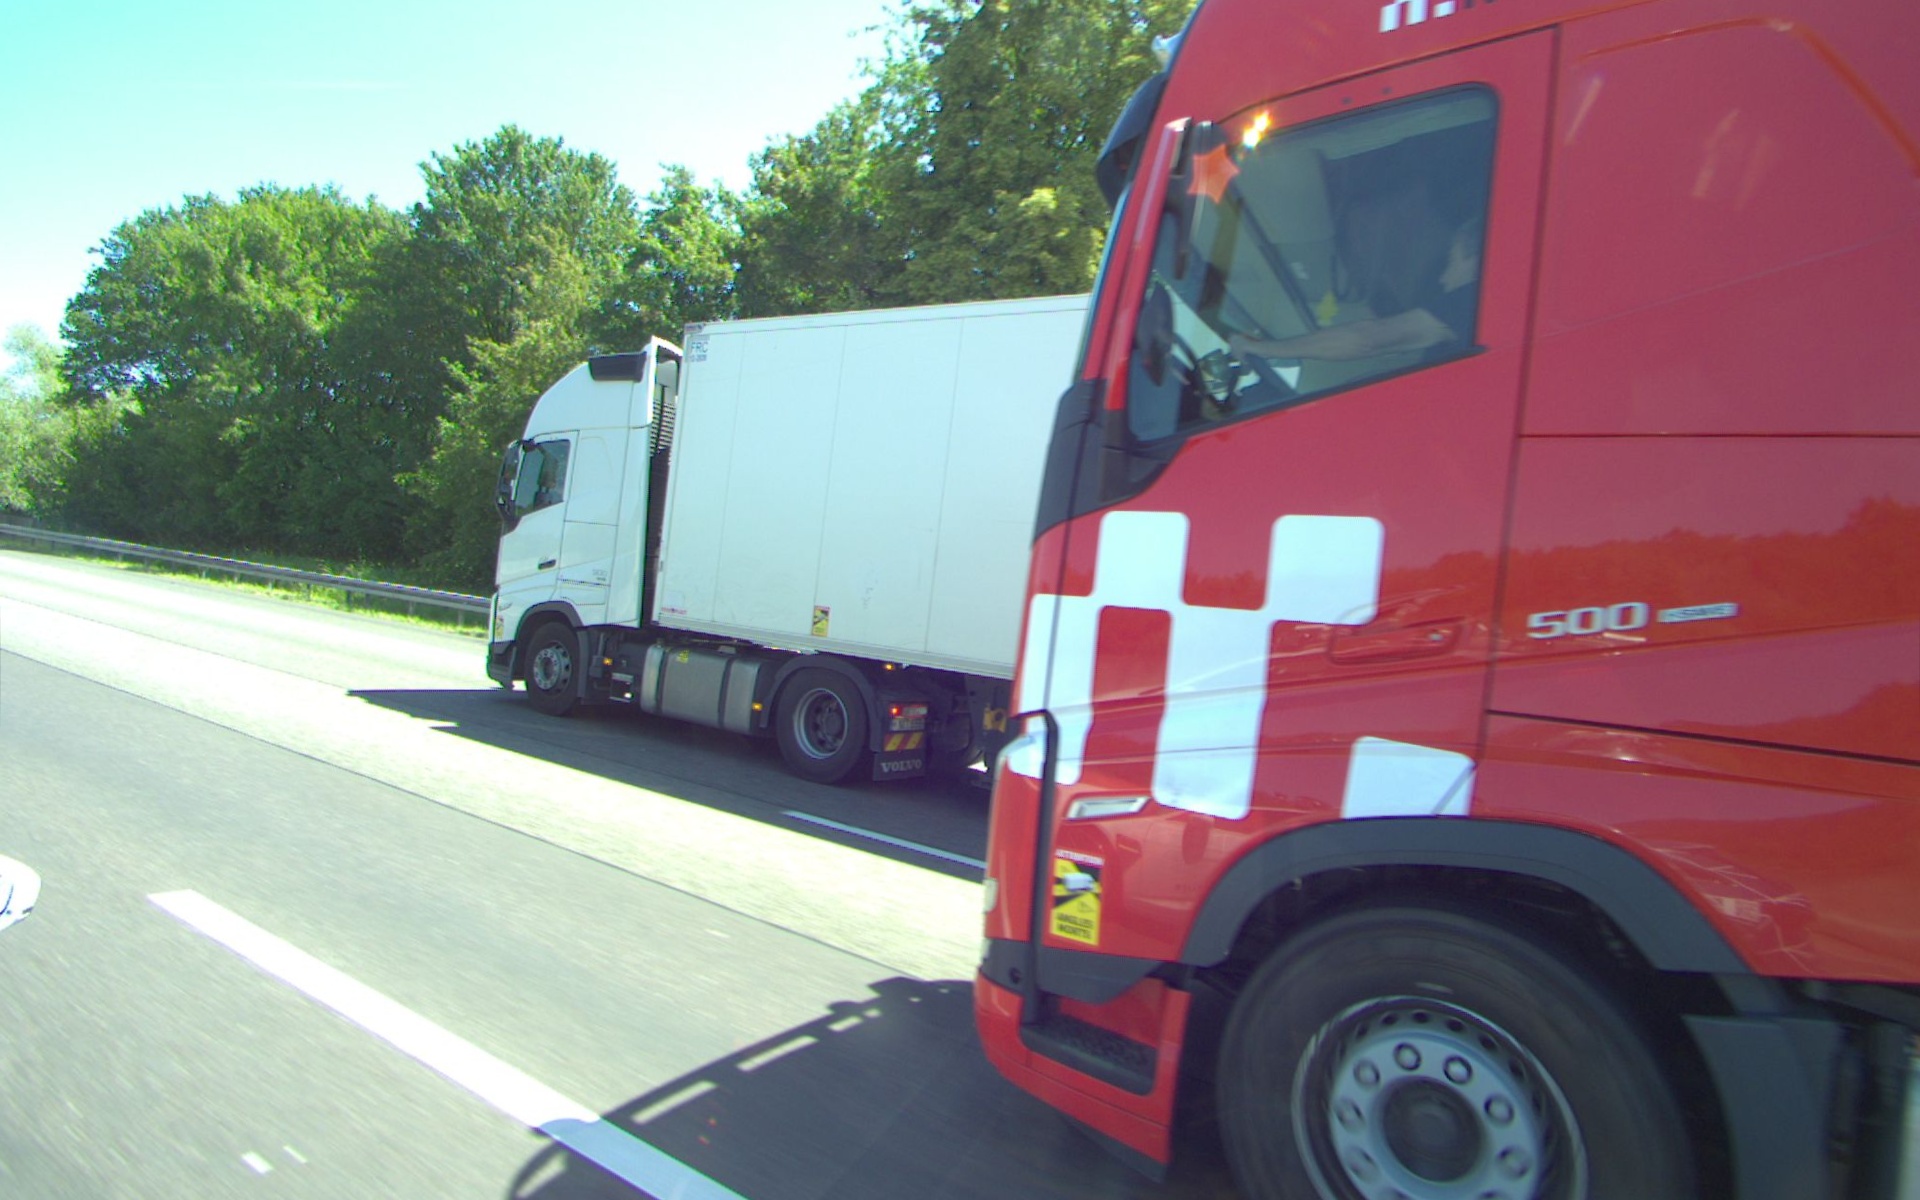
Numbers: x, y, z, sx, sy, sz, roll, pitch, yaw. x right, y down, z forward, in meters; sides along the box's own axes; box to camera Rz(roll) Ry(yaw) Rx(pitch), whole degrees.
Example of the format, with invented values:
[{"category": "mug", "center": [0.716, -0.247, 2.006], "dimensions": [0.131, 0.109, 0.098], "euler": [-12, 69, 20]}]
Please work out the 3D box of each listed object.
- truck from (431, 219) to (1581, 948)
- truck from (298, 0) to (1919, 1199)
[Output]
[{"category": "truck", "center": [-0.474, -0.433, 9.863], "dimensions": [10.798, 4.140, 3.030], "euler": [6, -1, 33]}, {"category": "truck", "center": [0.665, -0.379, 4.069], "dimensions": [6.000, 4.033, 2.946], "euler": [6, -1, 31]}]
